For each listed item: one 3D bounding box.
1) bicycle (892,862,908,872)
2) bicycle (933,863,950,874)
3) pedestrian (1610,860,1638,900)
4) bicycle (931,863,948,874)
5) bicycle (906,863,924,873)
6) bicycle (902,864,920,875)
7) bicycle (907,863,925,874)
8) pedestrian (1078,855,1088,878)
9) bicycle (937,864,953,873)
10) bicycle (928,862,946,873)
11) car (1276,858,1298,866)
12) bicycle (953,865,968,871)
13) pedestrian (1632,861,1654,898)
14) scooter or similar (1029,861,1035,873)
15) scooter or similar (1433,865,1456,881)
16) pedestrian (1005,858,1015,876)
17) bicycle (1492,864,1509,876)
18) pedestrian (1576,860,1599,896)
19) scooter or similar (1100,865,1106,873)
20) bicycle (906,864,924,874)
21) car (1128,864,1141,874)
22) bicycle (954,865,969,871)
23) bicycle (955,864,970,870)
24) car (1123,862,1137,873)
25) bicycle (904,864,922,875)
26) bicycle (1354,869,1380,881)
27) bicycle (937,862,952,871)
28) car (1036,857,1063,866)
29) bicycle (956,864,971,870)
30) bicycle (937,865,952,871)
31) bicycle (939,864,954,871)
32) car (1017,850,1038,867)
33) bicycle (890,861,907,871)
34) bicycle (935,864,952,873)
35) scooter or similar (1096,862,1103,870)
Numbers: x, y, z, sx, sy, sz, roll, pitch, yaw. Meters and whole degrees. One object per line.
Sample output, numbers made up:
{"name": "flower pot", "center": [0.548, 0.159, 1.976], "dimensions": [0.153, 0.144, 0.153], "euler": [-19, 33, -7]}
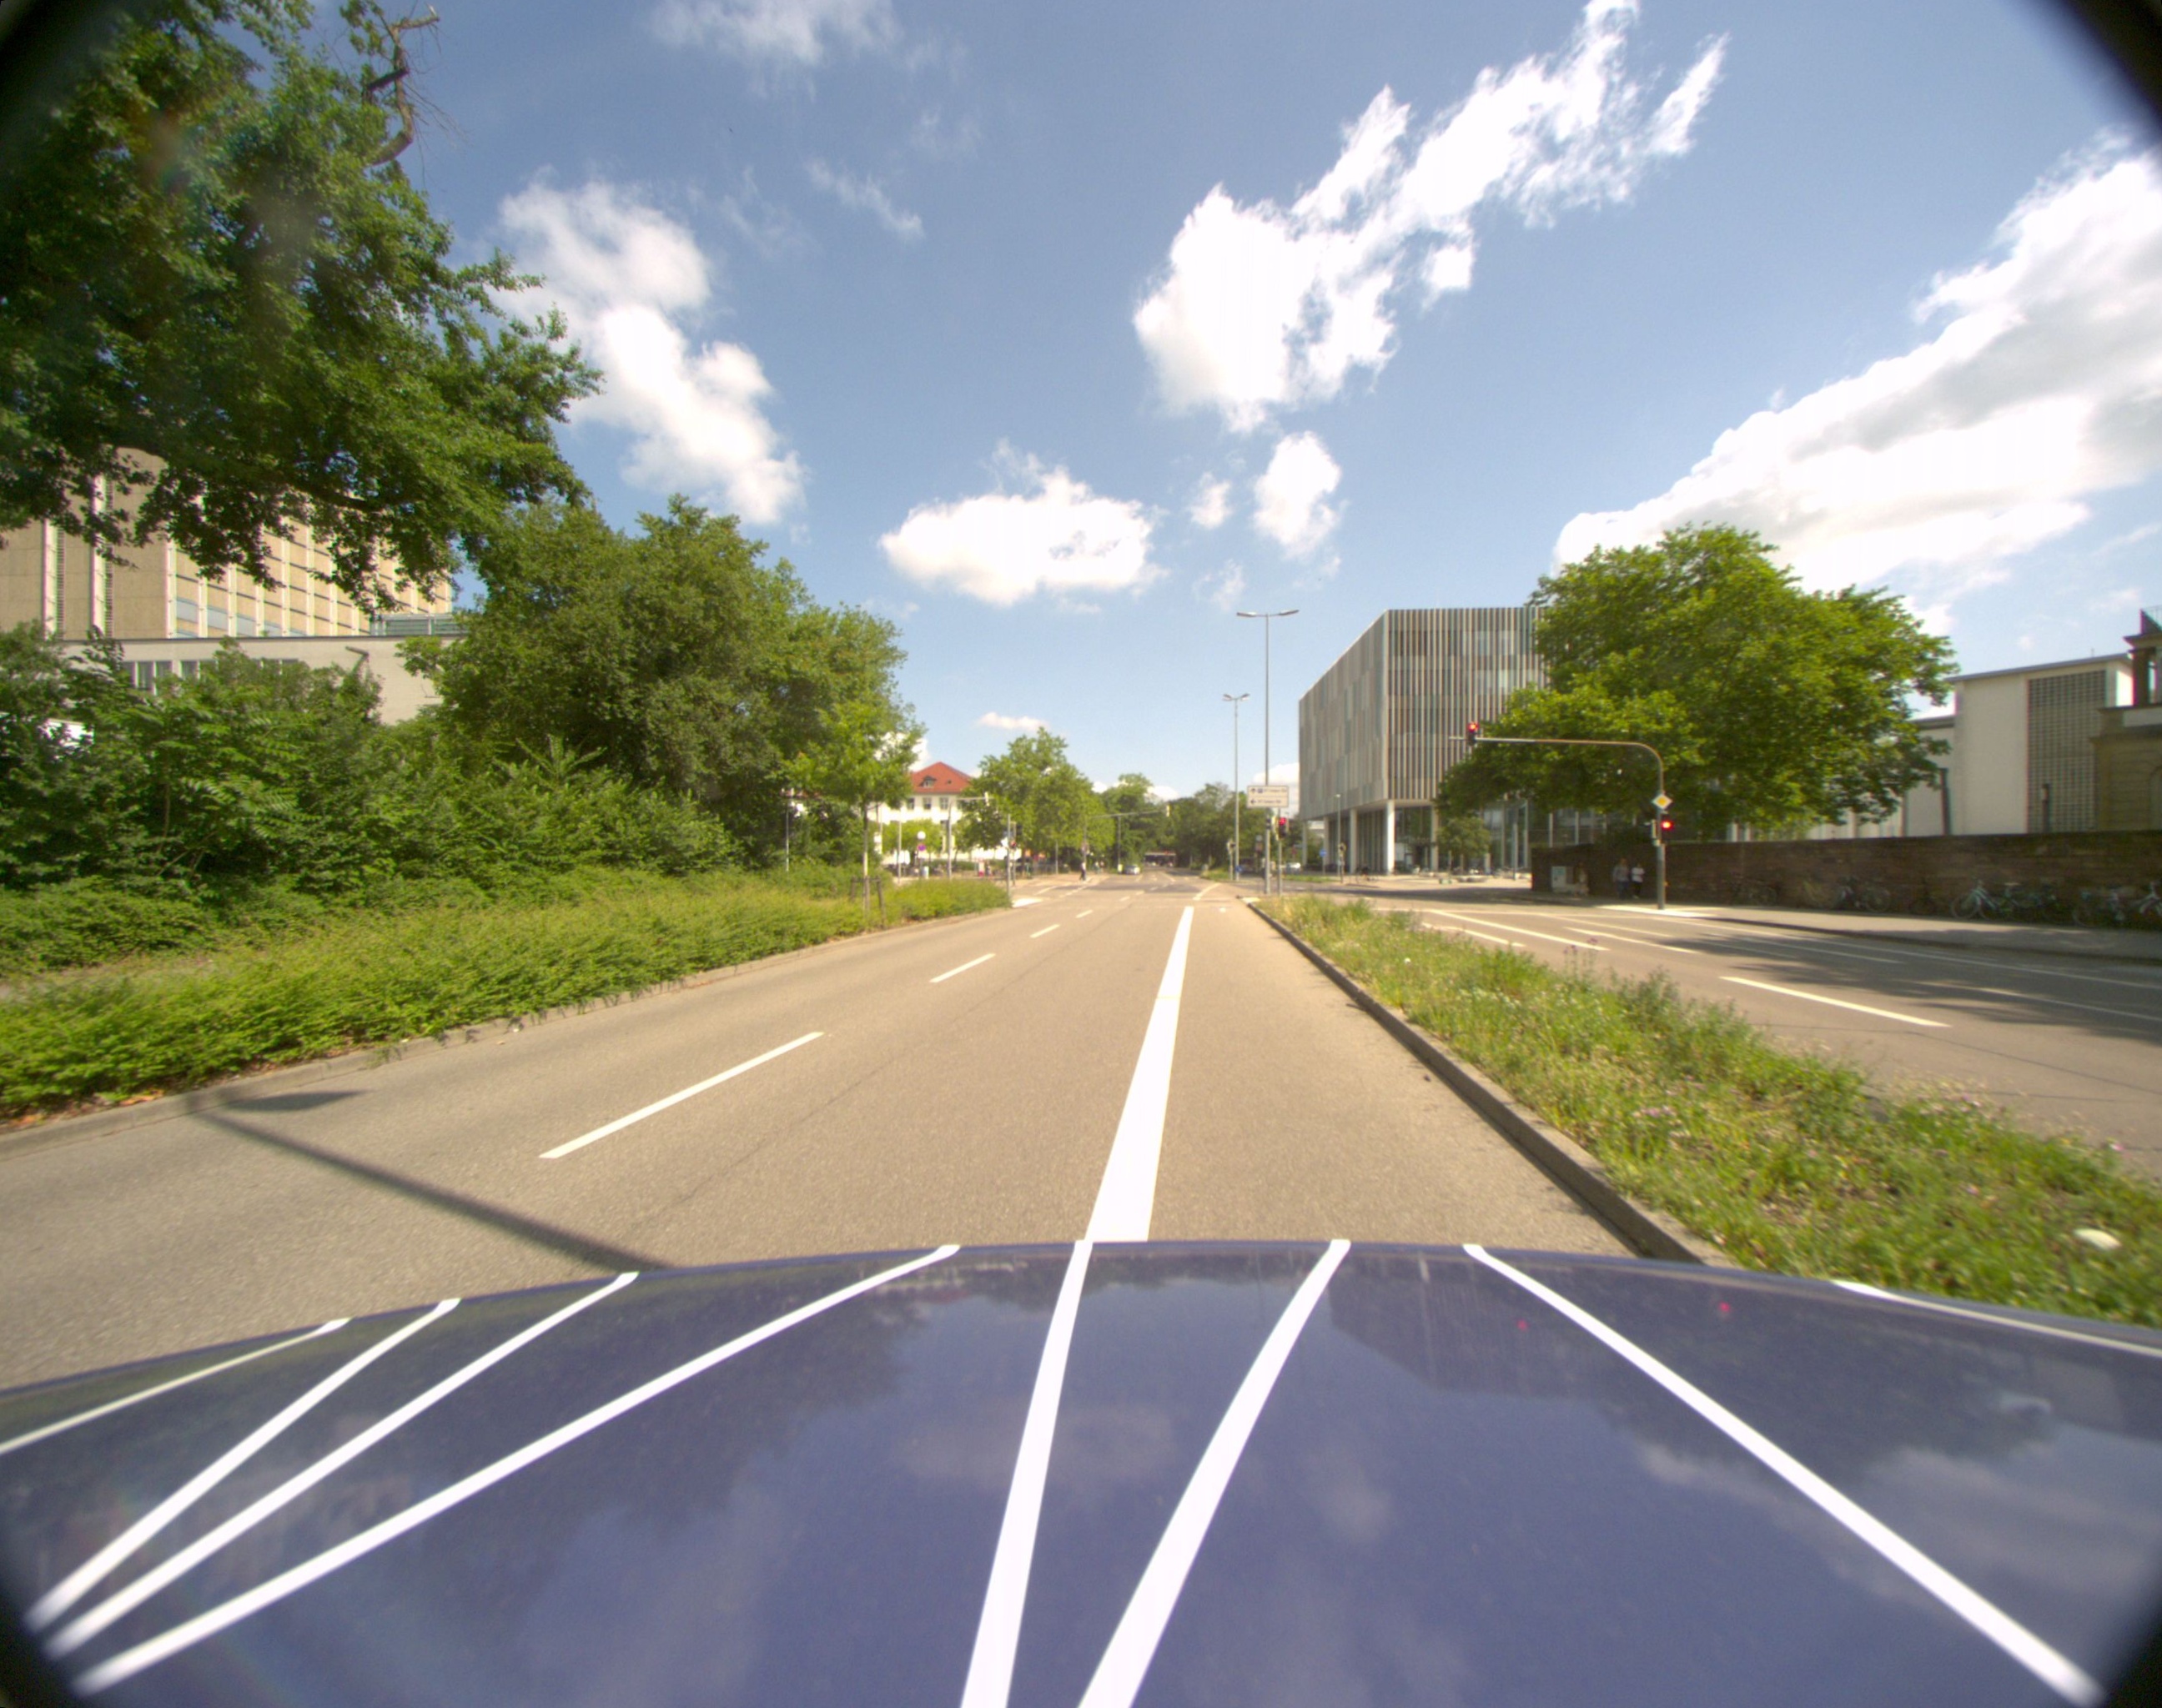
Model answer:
{"name": "bicycle", "center": [-20.050, 1.413, 84.279], "dimensions": [1.672, 1.090, 0.627], "euler": [0, 0, 1]}
{"name": "bicycle", "center": [-14.718, 1.508, 79.928], "dimensions": [1.672, 1.090, 0.627], "euler": [0, 0, 1]}
{"name": "pedestrian", "center": [22.699, 1.072, 31.789], "dimensions": [0.642, 1.641, 0.731], "euler": [0, 0, 3]}
{"name": "bicycle", "center": [-14.708, 1.481, 79.074], "dimensions": [1.672, 1.090, 0.627], "euler": [0, 0, 1]}
{"name": "bicycle", "center": [-17.342, 1.449, 79.420], "dimensions": [1.672, 1.090, 0.627], "euler": [0, 0, 1]}
{"name": "bicycle", "center": [-16.870, 1.560, 75.554], "dimensions": [1.672, 1.090, 0.627], "euler": [0, 0, 1]}
{"name": "bicycle", "center": [-16.846, 1.515, 77.741], "dimensions": [1.672, 1.090, 0.627], "euler": [0, 0, 1]}
{"name": "pedestrian", "center": [0.182, 1.043, 63.196], "dimensions": [0.701, 1.815, 0.942], "euler": [3, 1, 6]}
{"name": "bicycle", "center": [-14.667, 1.596, 81.964], "dimensions": [1.672, 0.979, 0.627], "euler": [0, 0, 1]}
{"name": "bicycle", "center": [-14.691, 1.337, 77.506], "dimensions": [1.672, 1.090, 0.627], "euler": [0, 0, 1]}
{"name": "car", "center": [39.724, 1.547, 146.528], "dimensions": [3.994, 1.676, 1.647], "euler": [0, 0, 7]}
{"name": "bicycle", "center": [-14.460, 1.687, 91.283], "dimensions": [1.672, 0.729, 0.627], "euler": [0, 0, 1]}
{"name": "pedestrian", "center": [23.493, 1.058, 31.777], "dimensions": [0.477, 1.531, 0.616], "euler": [0, 0, 3]}
{"name": "scooter or similar", "center": [-4.762, 1.291, 74.280], "dimensions": [0.347, 1.122, 1.168], "euler": [0, 0, 7]}
{"name": "scooter or similar", "center": [25.467, 1.326, 53.266], "dimensions": [1.504, 1.150, 0.503], "euler": [0, 0, -19]}
{"name": "pedestrian", "center": [-6.650, 1.177, 70.792], "dimensions": [0.741, 1.640, 0.640], "euler": [0, 0, 14]}
{"name": "bicycle", "center": [39.131, 1.462, 70.814], "dimensions": [2.323, 1.131, 0.745], "euler": [0, 0, -45]}
{"name": "pedestrian", "center": [23.231, 1.075, 34.858], "dimensions": [0.561, 1.641, 0.727], "euler": [0, 0, 3]}
{"name": "scooter or similar", "center": [2.878, 1.912, 98.204], "dimensions": [0.517, 1.071, 1.442], "euler": [0, 0, 14]}
{"name": "bicycle", "center": [-16.844, 1.517, 77.032], "dimensions": [1.672, 1.090, 0.627], "euler": [0, 0, 1]}
{"name": "car", "center": [7.704, 2.149, 109.595], "dimensions": [1.559, 1.335, 4.003], "euler": [2, 0, 9]}
{"name": "bicycle", "center": [-14.471, 1.705, 92.126], "dimensions": [1.672, 0.729, 0.627], "euler": [0, 0, 1]}
{"name": "bicycle", "center": [-14.553, 1.607, 93.348], "dimensions": [1.672, 0.729, 0.627], "euler": [0, 0, 1]}
{"name": "car", "center": [6.688, 1.825, 104.103], "dimensions": [1.708, 1.321, 4.001], "euler": [2, 0, 3]}
{"name": "bicycle", "center": [-16.820, 1.557, 76.246], "dimensions": [1.672, 1.090, 0.627], "euler": [0, 0, 1]}
{"name": "bicycle", "center": [22.938, 1.674, 60.954], "dimensions": [1.770, 0.887, 0.639], "euler": [0, 0, 40]}
{"name": "bicycle", "center": [-16.098, 1.494, 89.850], "dimensions": [1.672, 1.090, 0.627], "euler": [0, 0, 1]}
{"name": "car", "center": [-4.682, 1.116, 113.831], "dimensions": [3.998, 1.416, 1.757], "euler": [0, 0, -3]}
{"name": "bicycle", "center": [-14.548, 1.613, 94.205], "dimensions": [1.672, 0.729, 0.627], "euler": [0, 0, 1]}
{"name": "bicycle", "center": [-16.366, 1.661, 91.281], "dimensions": [1.672, 0.785, 0.627], "euler": [0, 0, -1]}
{"name": "bicycle", "center": [-16.286, 1.664, 92.019], "dimensions": [1.672, 0.785, 0.627], "euler": [0, 0, -1]}
{"name": "car", "center": [-6.383, 0.514, 91.055], "dimensions": [1.998, 2.002, 4.903], "euler": [0, 0, 2]}
{"name": "bicycle", "center": [-20.027, 1.340, 83.396], "dimensions": [1.672, 1.090, 0.627], "euler": [0, 0, 1]}
{"name": "bicycle", "center": [-14.667, 1.559, 81.182], "dimensions": [1.672, 1.029, 0.627], "euler": [0, 0, 1]}
{"name": "scooter or similar", "center": [2.412, 1.606, 100.752], "dimensions": [0.517, 1.065, 1.372], "euler": [0, 0, 21]}
